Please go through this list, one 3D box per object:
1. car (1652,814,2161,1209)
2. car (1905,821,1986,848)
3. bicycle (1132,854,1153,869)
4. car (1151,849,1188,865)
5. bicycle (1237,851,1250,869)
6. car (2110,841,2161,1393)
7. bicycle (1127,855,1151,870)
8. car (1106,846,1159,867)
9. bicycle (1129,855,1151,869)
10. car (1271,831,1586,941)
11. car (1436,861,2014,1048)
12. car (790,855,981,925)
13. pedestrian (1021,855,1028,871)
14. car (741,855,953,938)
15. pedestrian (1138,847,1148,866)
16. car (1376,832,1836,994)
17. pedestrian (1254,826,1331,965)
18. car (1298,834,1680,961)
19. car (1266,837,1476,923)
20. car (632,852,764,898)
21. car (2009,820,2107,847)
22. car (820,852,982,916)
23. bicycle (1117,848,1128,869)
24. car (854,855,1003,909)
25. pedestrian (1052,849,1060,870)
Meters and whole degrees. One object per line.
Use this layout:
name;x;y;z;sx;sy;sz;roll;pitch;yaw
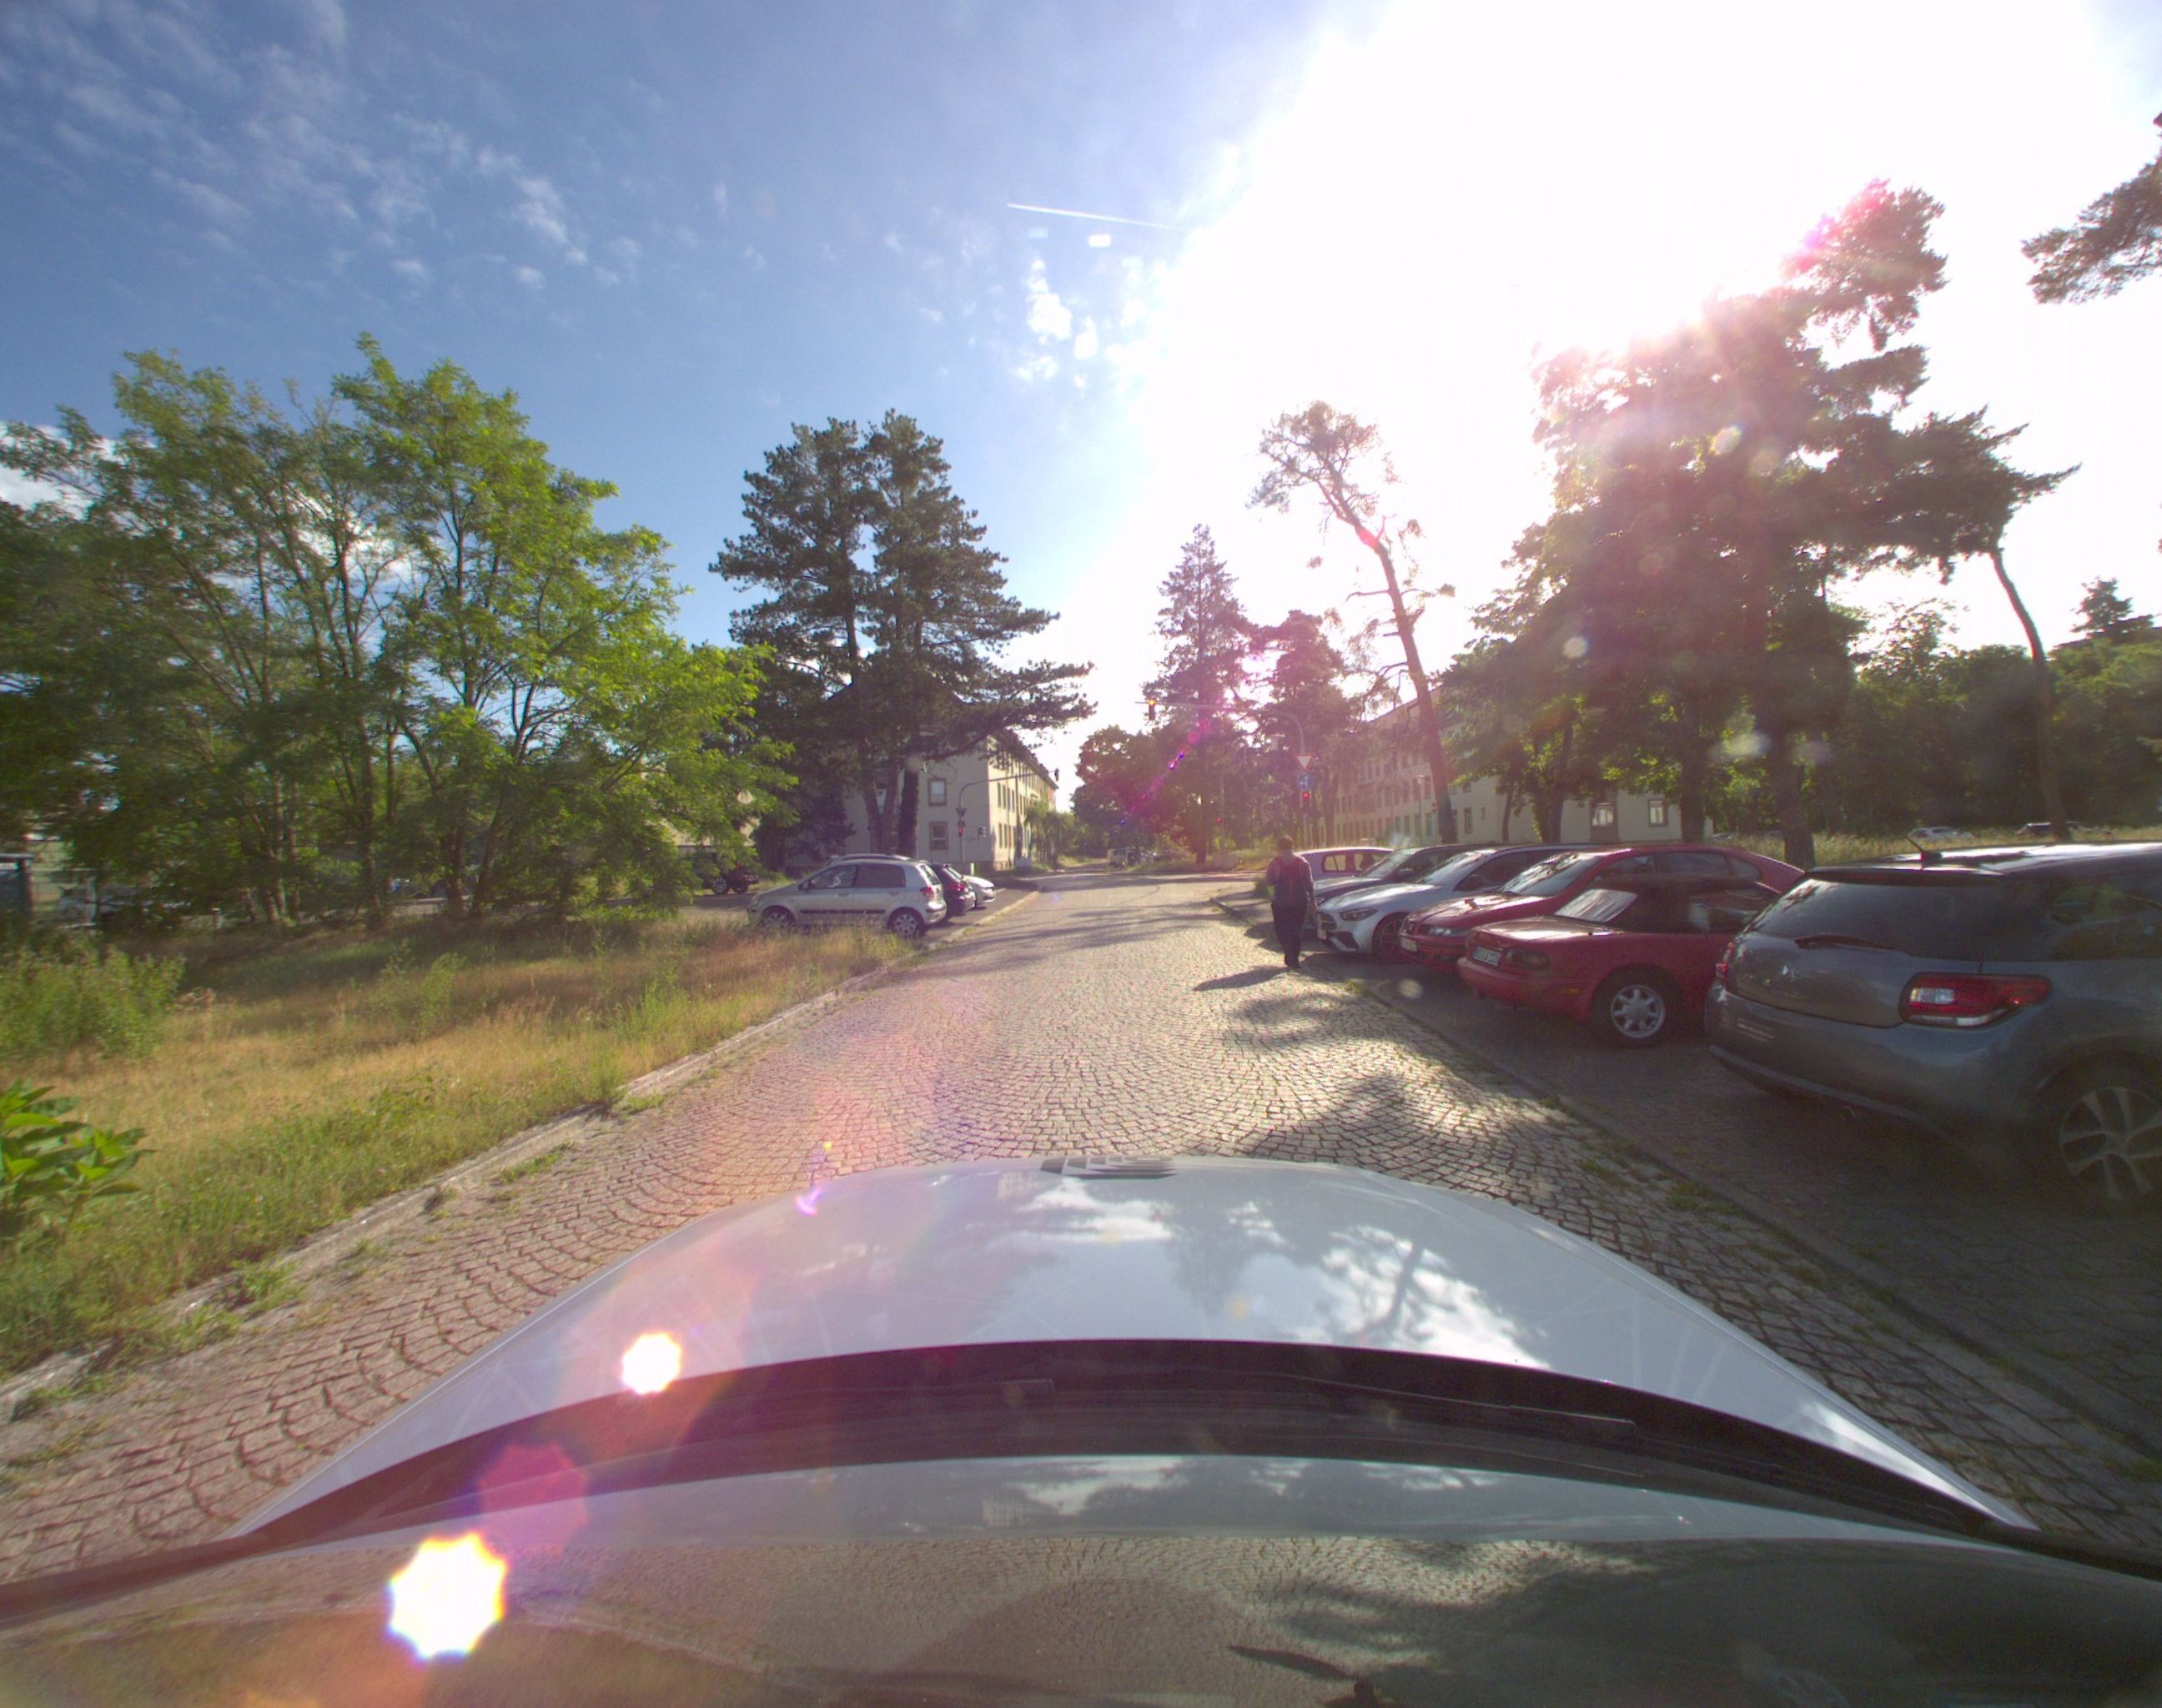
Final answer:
car;5.269;0.567;4.018;3.648;1.455;1.668;-4;0;2
car;60.387;-1.351;56.940;3.618;1.671;1.769;-2;0;5
bicycle;5.048;0.611;66.890;1.722;1.164;0.561;-2;0;-1
car;9.480;0.275;87.349;3.737;1.580;1.738;-2;0;-5
bicycle;10.689;0.383;53.533;0.717;1.115;2.592;-2;0;12
car;4.620;0.596;1.200;3.764;1.450;1.760;-3;0;4
bicycle;4.687;0.659;65.676;1.829;1.112;0.495;-2;0;-1
car;5.279;0.241;83.579;5.062;1.918;1.995;-2;0;-7
bicycle;4.782;0.656;66.217;1.722;1.112;0.484;-2;0;-1
car;5.830;0.512;14.084;4.604;1.455;1.870;-4;0;0
car;4.957;0.742;6.649;3.446;1.242;1.538;-2;0;3
car;-4.422;0.805;18.830;3.923;1.445;1.691;1;0;1
pedestrian;-5.560;0.854;80.071;0.605;1.559;0.544;-2;0;-4
car;-4.536;0.802;16.167;3.673;1.527;1.699;0;0;0
pedestrian;6.225;0.250;81.746;0.758;1.783;0.683;-2;0;-5
car;5.567;0.595;9.019;3.964;1.448;1.656;-3;0;2
pedestrian;2.766;0.524;10.740;0.750;1.725;0.829;3;0;2
car;5.468;0.562;11.359;4.383;1.388;1.789;-3;0;1
car;5.799;0.500;16.619;3.658;1.443;1.666;-4;0;2
car;-14.912;0.791;31.884;4.126;1.608;2.012;-2;0;3
car;59.283;-1.239;49.442;3.618;1.497;1.769;-2;0;5
car;-4.703;0.758;21.621;3.865;1.615;1.661;0;0;1
bicycle;3.183;0.320;62.271;0.750;1.580;2.538;-2;0;2
car;-4.478;0.801;24.260;3.965;1.496;1.776;0;0;7
pedestrian;-2.168;0.456;69.705;0.604;1.752;0.631;-2;0;2
